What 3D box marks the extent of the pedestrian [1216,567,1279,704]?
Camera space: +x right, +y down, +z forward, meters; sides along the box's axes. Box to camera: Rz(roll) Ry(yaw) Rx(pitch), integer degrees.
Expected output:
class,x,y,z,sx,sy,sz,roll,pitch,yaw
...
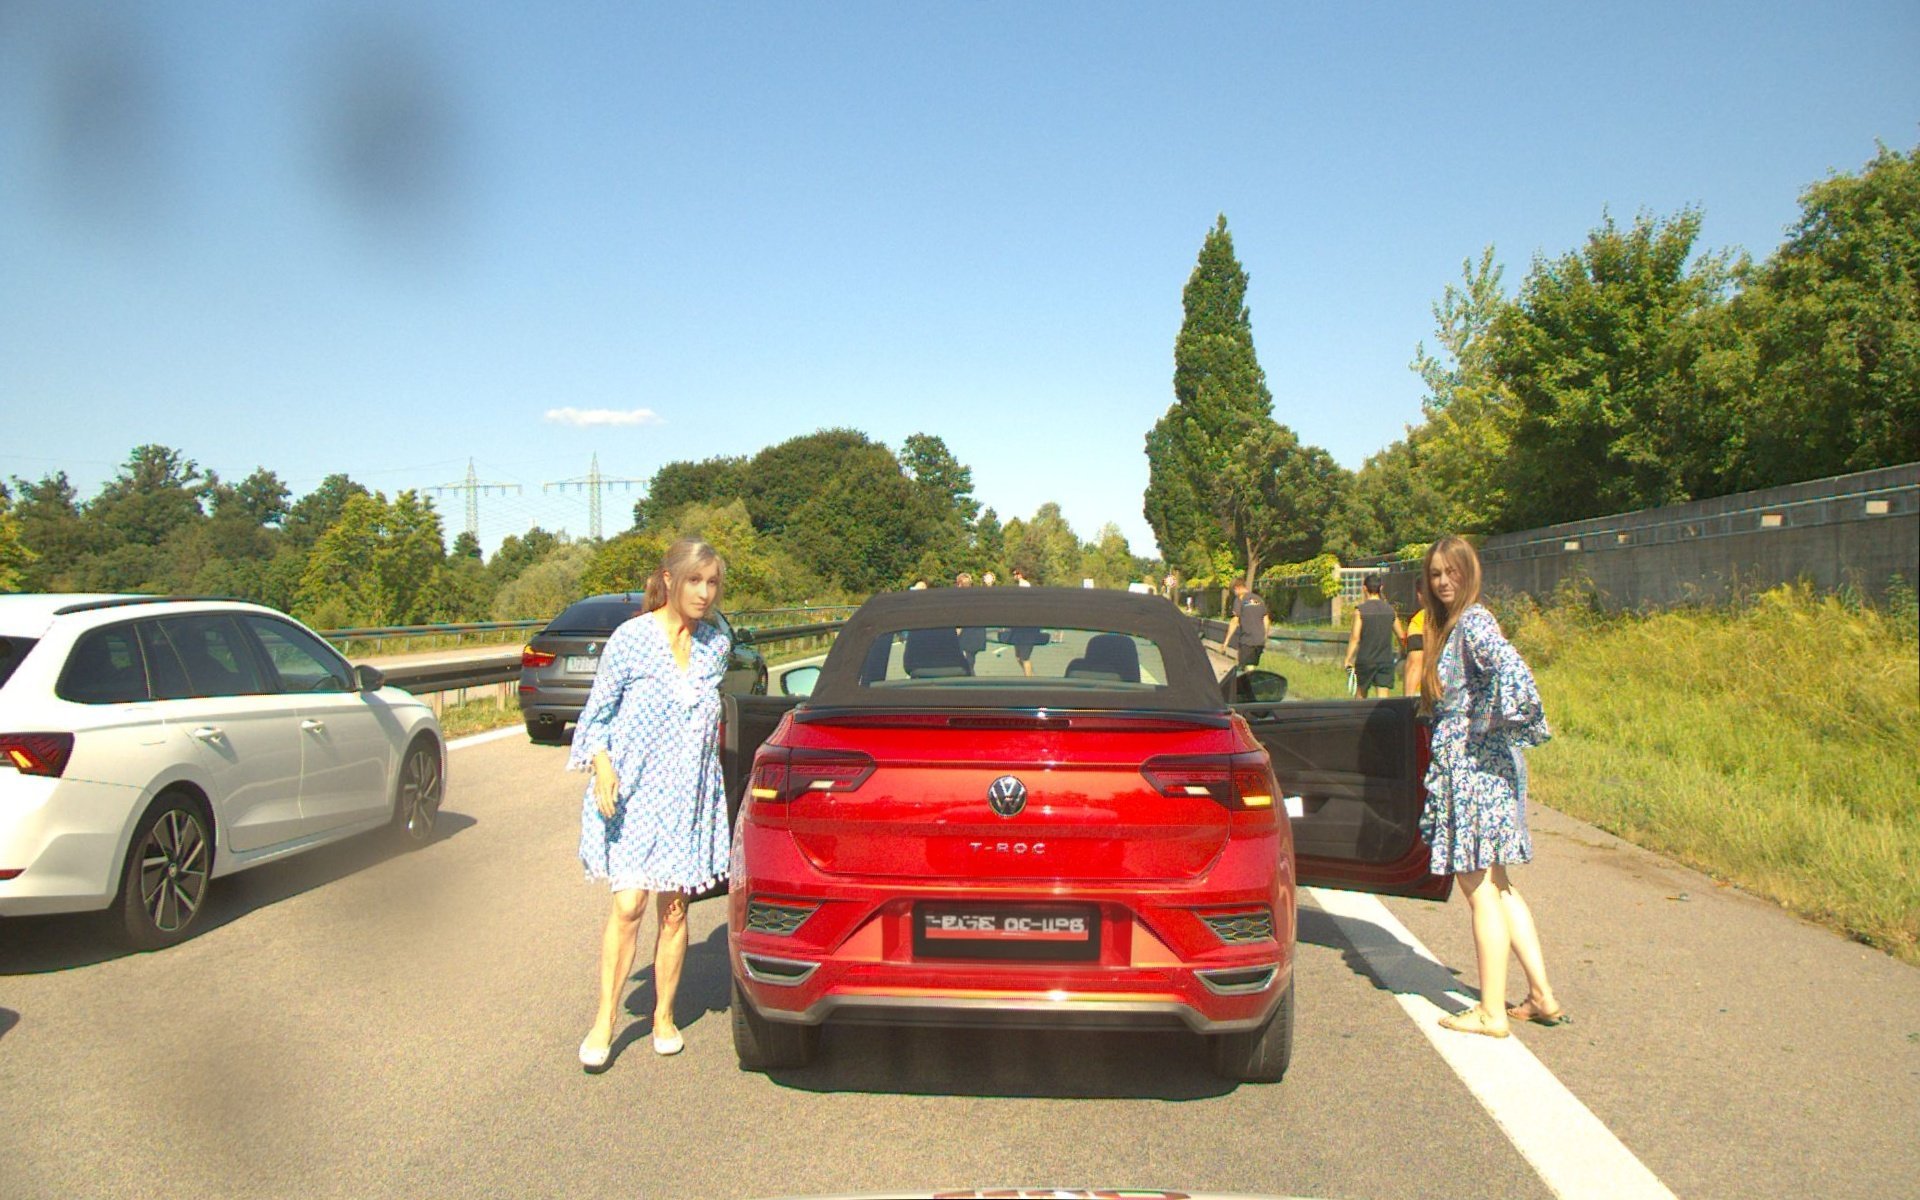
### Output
class,x,y,z,sx,sy,sz,roll,pitch,yaw
pedestrian,3.857,0.472,22.183,0.794,1.790,0.829,1,0,11

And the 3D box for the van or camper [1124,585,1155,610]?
class,x,y,z,sx,sy,sz,roll,pitch,yaw
van or camper,17.160,-0.207,158.014,1.952,2.356,4.471,1,0,20

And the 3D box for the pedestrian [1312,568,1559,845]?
class,x,y,z,sx,sy,sz,roll,pitch,yaw
pedestrian,3.108,0.649,10.898,0.946,1.682,1.267,-1,0,-27

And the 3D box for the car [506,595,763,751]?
class,x,y,z,sx,sy,sz,roll,pitch,yaw
car,-3.330,0.679,17.773,1.659,1.451,4.336,1,0,3

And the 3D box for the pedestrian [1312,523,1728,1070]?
class,x,y,z,sx,sy,sz,roll,pitch,yaw
pedestrian,1.887,0.624,5.734,1.102,1.725,0.892,-1,0,-2

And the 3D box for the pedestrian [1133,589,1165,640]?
class,x,y,z,sx,sy,sz,roll,pitch,yaw
pedestrian,6.489,0.486,56.708,1.033,1.719,1.018,1,0,10

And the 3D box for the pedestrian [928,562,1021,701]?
class,x,y,z,sx,sy,sz,roll,pitch,yaw
pedestrian,0.213,0.439,23.476,1.043,1.916,1.094,-1,0,16

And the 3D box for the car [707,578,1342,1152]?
class,x,y,z,sx,sy,sz,roll,pitch,yaw
car,0.293,0.695,6.553,1.696,1.513,4.212,1,0,3

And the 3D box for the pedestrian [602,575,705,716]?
class,x,y,z,sx,sy,sz,roll,pitch,yaw
pedestrian,-4.017,0.584,21.734,1.018,1.794,1.119,-1,0,6

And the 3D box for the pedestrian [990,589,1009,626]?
class,x,y,z,sx,sy,sz,roll,pitch,yaw
pedestrian,1.863,0.368,78.341,0.774,1.719,0.793,1,0,8

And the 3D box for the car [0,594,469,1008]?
class,x,y,z,sx,sy,sz,roll,pitch,yaw
car,-3.974,0.713,8.088,1.659,1.467,4.212,1,0,3

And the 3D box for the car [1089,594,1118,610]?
class,x,y,z,sx,sy,sz,roll,pitch,yaw
car,13.865,0.225,159.453,1.696,1.513,4.211,1,0,20

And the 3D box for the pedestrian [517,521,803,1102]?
class,x,y,z,sx,sy,sz,roll,pitch,yaw
pedestrian,-0.964,0.620,5.335,0.824,1.712,0.741,-1,0,-12

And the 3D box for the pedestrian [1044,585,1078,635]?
class,x,y,z,sx,sy,sz,roll,pitch,yaw
pedestrian,3.543,0.347,57.992,1.090,1.719,0.974,1,0,8

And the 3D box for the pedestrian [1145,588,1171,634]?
class,x,y,z,sx,sy,sz,roll,pitch,yaw
pedestrian,7.626,0.422,63.761,0.975,1.719,1.011,1,0,7

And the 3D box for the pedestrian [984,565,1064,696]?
class,x,y,z,sx,sy,sz,roll,pitch,yaw
pedestrian,0.978,0.455,25.567,1.084,1.946,1.256,-1,0,-4

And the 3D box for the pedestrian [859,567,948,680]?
class,x,y,z,sx,sy,sz,roll,pitch,yaw
pedestrian,-0.941,0.383,27.390,1.077,1.820,1.096,1,0,-30

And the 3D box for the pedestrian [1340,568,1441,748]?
class,x,y,z,sx,sy,sz,roll,pitch,yaw
pedestrian,4.315,0.572,16.630,0.875,1.755,0.755,1,0,6
